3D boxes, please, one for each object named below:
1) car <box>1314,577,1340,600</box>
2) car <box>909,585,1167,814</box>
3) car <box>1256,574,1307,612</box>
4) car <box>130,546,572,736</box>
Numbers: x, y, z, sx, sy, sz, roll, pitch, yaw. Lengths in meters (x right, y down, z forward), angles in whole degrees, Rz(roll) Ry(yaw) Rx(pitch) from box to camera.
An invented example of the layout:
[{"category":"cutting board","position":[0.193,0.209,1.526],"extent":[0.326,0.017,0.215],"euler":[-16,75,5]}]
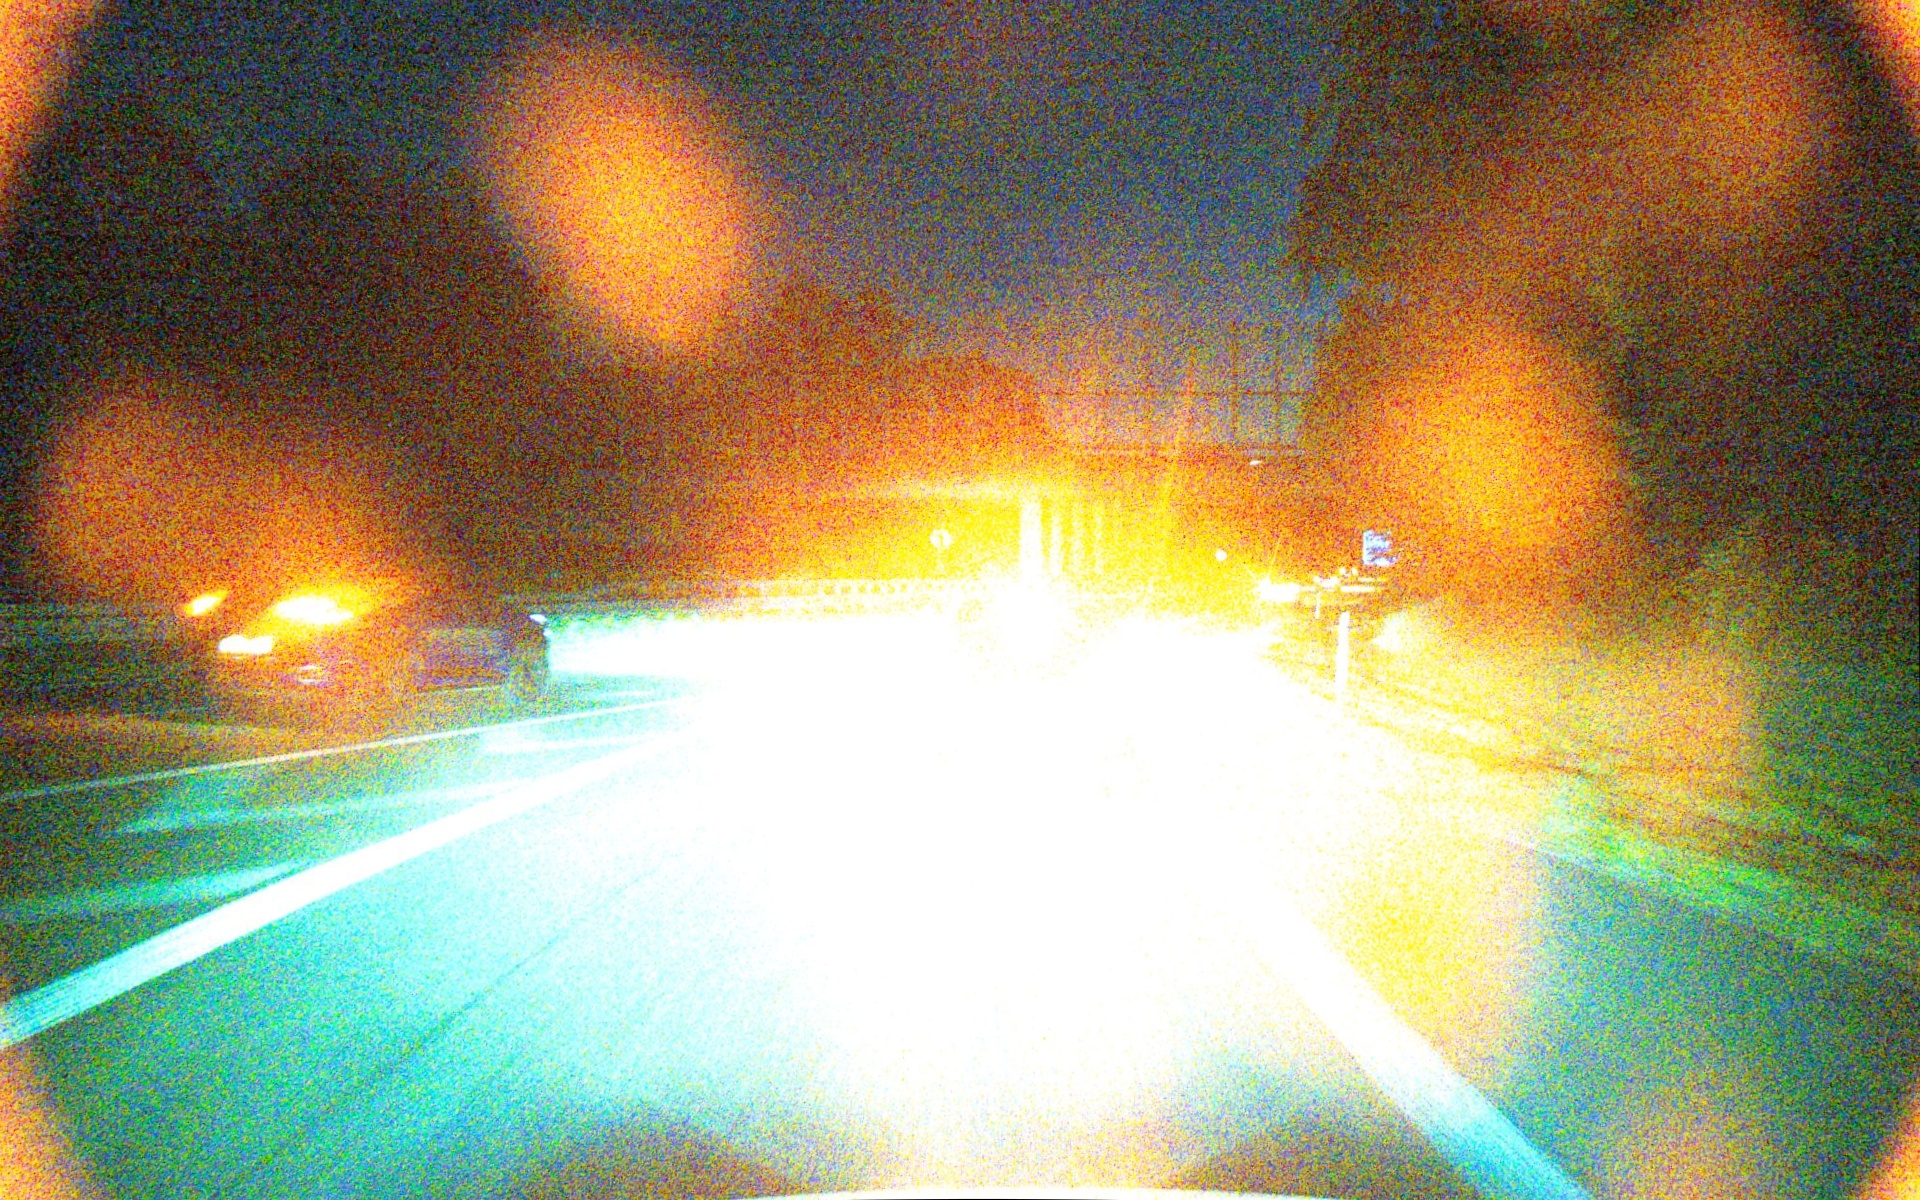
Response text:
[{"category":"car","position":[27.816,-0.876,125.232],"extent":[1.697,1.646,3.801],"euler":[1,1,15]},{"category":"car","position":[0.481,0.674,13.407],"extent":[1.657,1.503,3.998],"euler":[2,1,-3]},{"category":"car","position":[14.774,-0.301,75.835],"extent":[1.910,1.565,4.244],"euler":[-3,-2,15]},{"category":"car","position":[-6.096,0.342,17.261],"extent":[1.899,1.636,4.646],"euler":[2,1,16]}]
